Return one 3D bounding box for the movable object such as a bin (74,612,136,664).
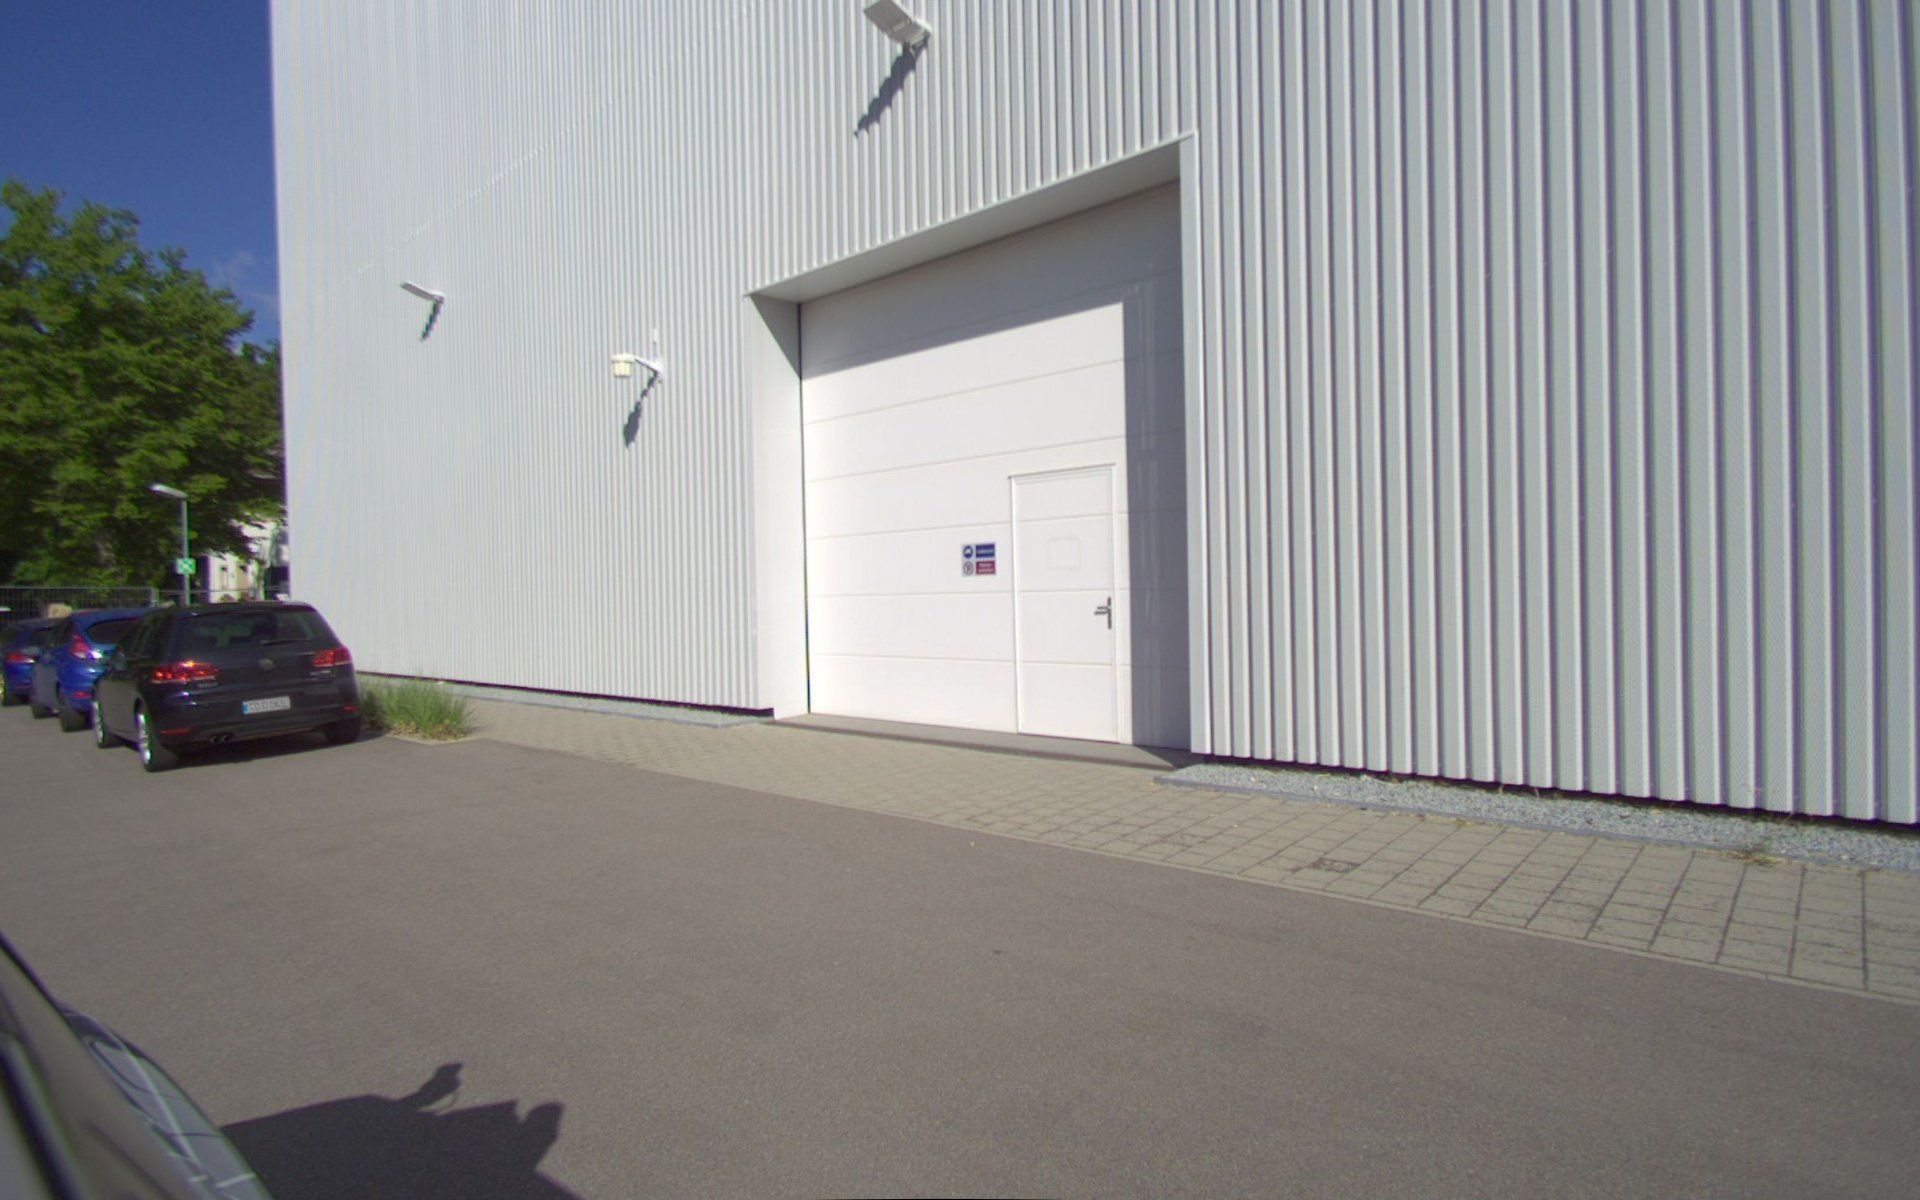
[{"bbox_3d":[-25.225,1.106,29.861,1.228,1.443,1.080,0,2,36],"label":"movable object such as a bin"}]

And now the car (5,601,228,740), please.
[{"bbox_3d":[-11.528,0.856,13.730,4.092,1.511,1.614,-1,3,41],"label":"car"}]

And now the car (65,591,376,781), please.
[{"bbox_3d":[-7.820,0.747,10.538,4.293,1.511,1.736,-1,2,42],"label":"car"}]

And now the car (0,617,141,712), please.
[{"bbox_3d":[-15.591,1.020,17.317,4.051,1.371,1.756,-1,1,41],"label":"car"}]

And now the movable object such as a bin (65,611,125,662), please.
[{"bbox_3d":[-26.245,1.093,30.720,1.228,1.450,1.080,0,2,36],"label":"movable object such as a bin"}]

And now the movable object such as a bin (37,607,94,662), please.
[{"bbox_3d":[-27.970,1.056,31.631,1.228,1.609,1.080,1,2,36],"label":"movable object such as a bin"}]
